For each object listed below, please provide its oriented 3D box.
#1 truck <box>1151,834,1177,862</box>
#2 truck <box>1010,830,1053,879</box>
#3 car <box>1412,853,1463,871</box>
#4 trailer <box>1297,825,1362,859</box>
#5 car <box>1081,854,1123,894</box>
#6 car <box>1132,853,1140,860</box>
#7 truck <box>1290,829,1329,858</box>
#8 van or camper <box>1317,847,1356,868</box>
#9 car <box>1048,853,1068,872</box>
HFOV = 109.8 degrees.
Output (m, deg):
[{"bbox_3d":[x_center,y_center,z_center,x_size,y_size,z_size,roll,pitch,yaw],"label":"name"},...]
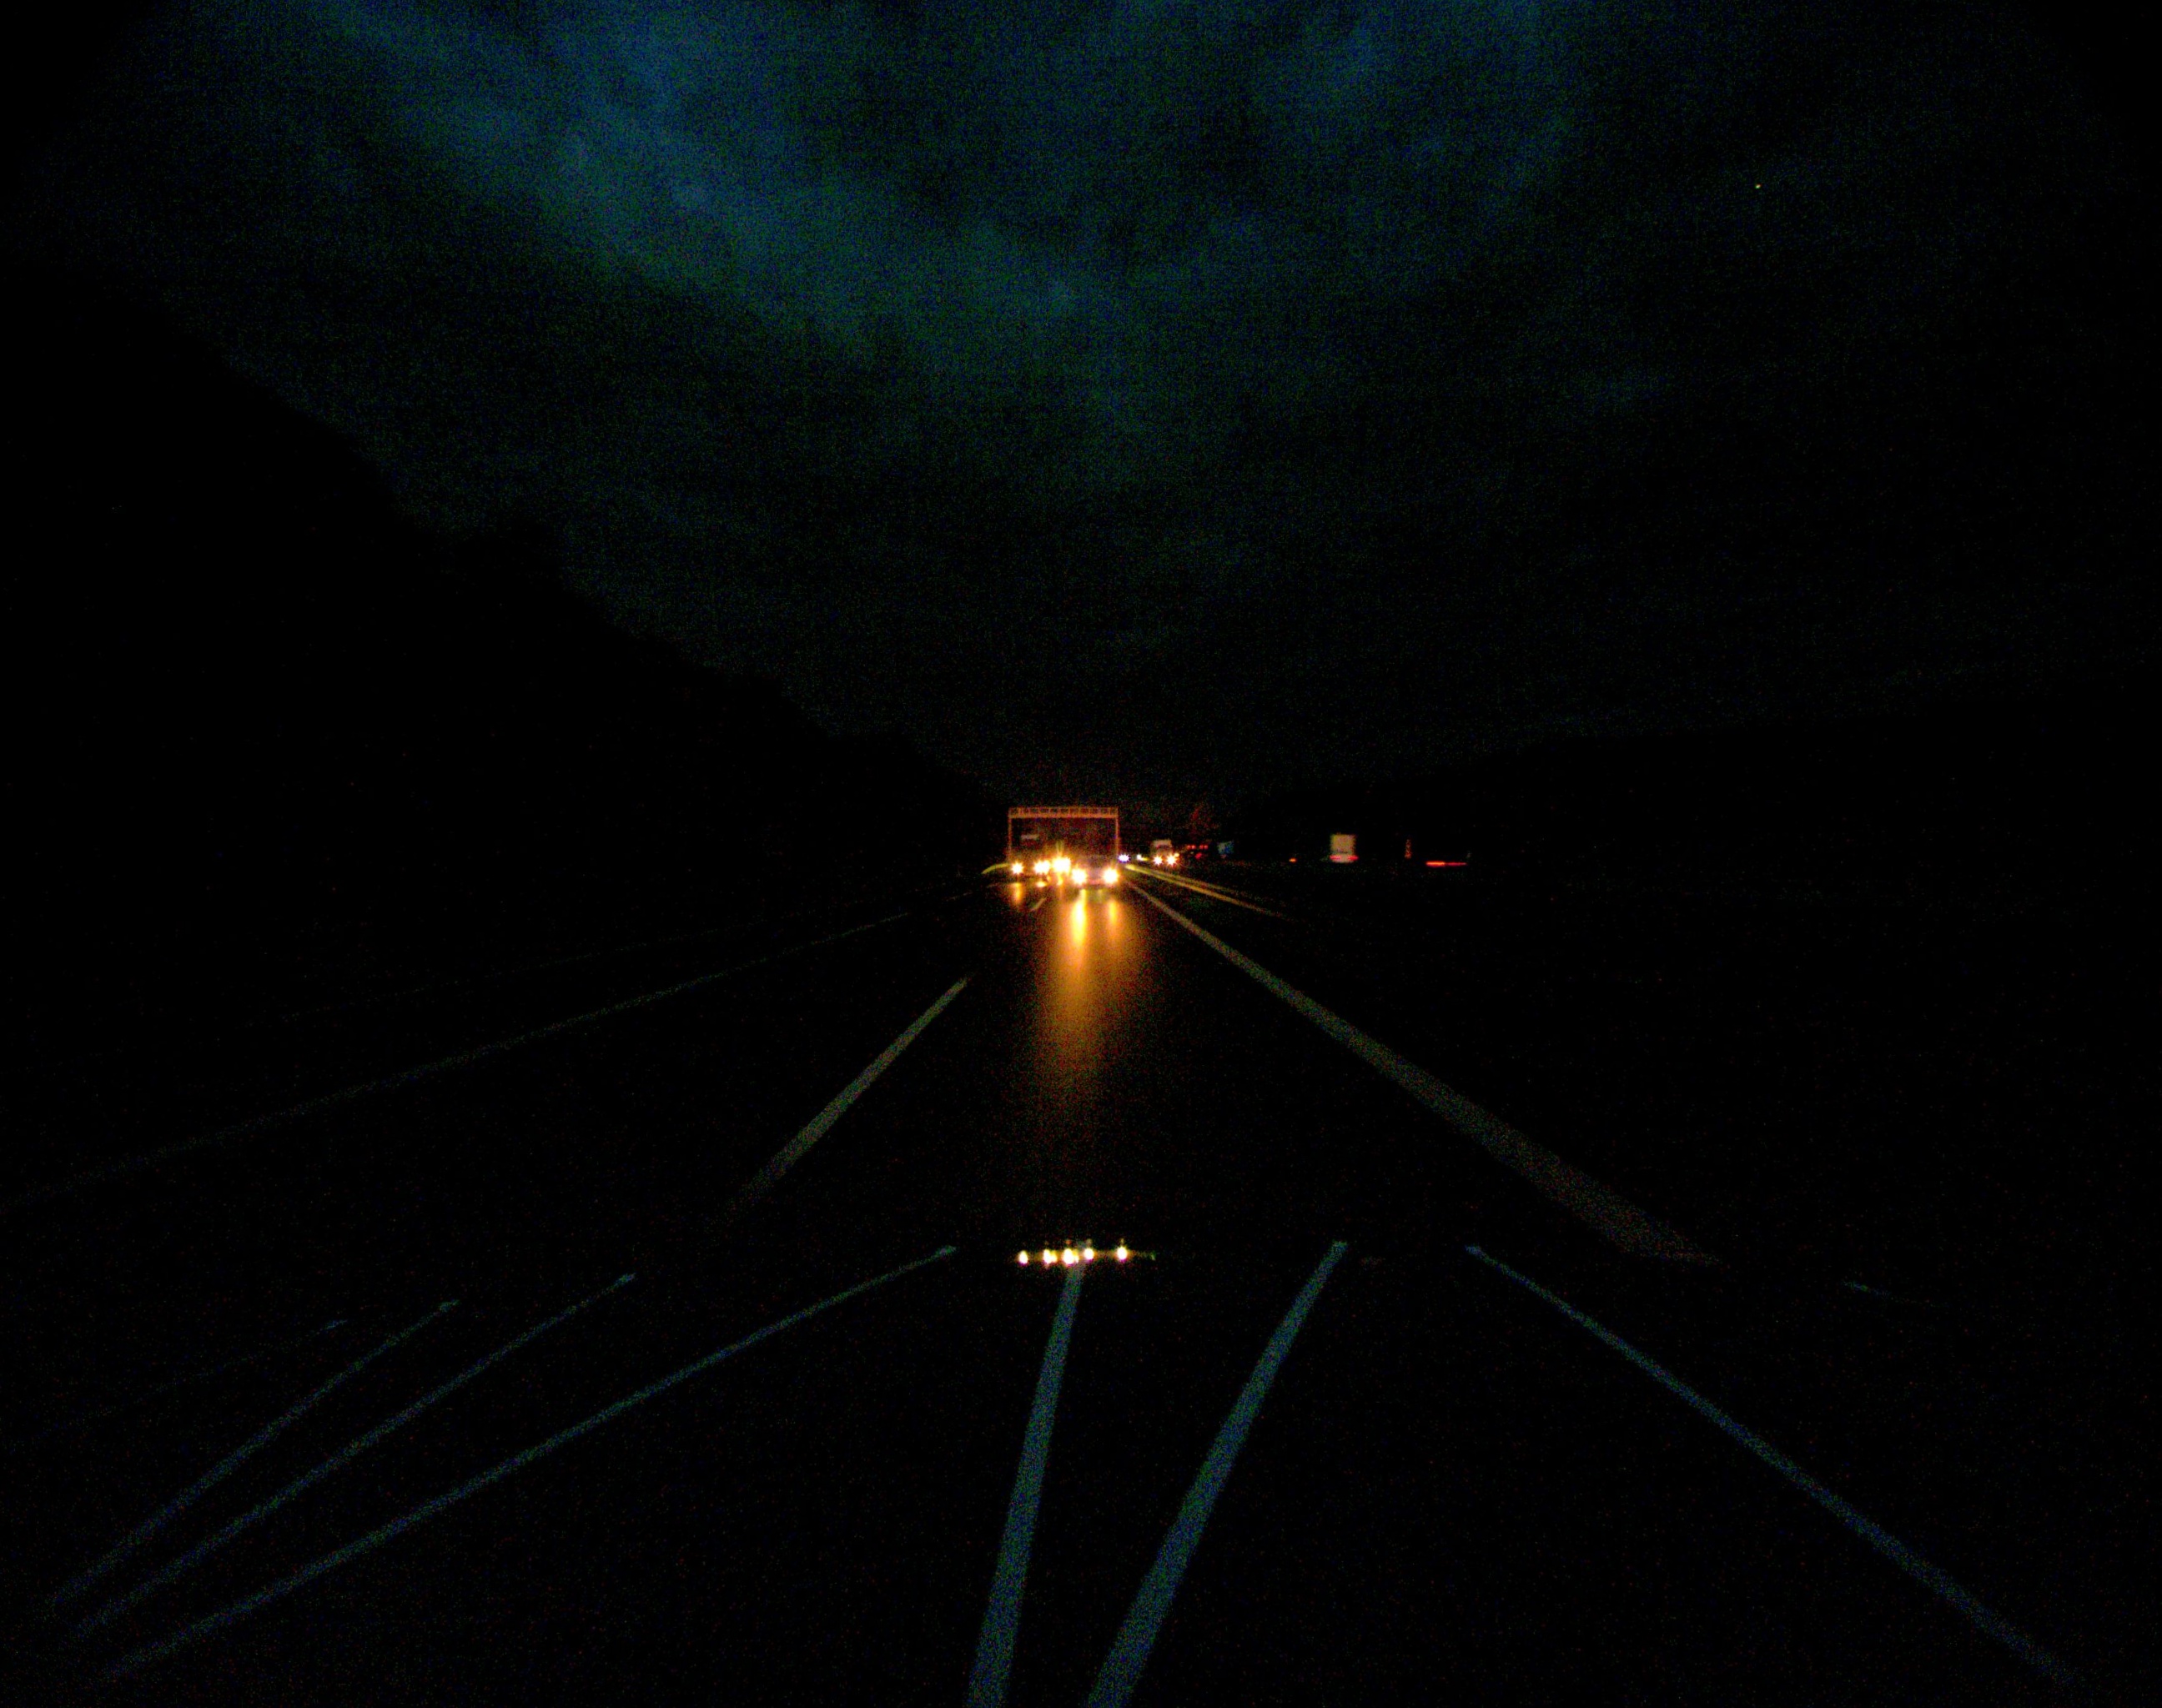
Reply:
[{"bbox_3d":[12.911,-0.970,119.313,3.046,4.276,9.890,0,1,0],"label":"truck"},{"bbox_3d":[-3.158,0.044,50.378,2.274,2.954,6.631,-2,0,0],"label":"truck"},{"bbox_3d":[25.703,0.547,54.893,1.756,1.243,4.212,0,1,1],"label":"car"},{"bbox_3d":[29.372,-1.377,90.740,3.335,3.743,13.884,0,1,0],"label":"trailer"},{"bbox_3d":[0.838,0.777,31.613,1.669,1.551,3.756,0,0,1],"label":"car"},{"bbox_3d":[13.363,0.612,185.000,1.833,1.674,4.228,-2,0,0],"label":"car"},{"bbox_3d":[29.383,-1.386,97.930,3.318,3.598,5.496,0,1,0],"label":"truck"},{"bbox_3d":[25.007,0.321,74.649,1.895,1.896,5.540,-1,0,-1],"label":"van or camper"},{"bbox_3d":[-1.880,0.669,62.534,1.615,1.547,3.318,0,1,-1],"label":"car"}]
